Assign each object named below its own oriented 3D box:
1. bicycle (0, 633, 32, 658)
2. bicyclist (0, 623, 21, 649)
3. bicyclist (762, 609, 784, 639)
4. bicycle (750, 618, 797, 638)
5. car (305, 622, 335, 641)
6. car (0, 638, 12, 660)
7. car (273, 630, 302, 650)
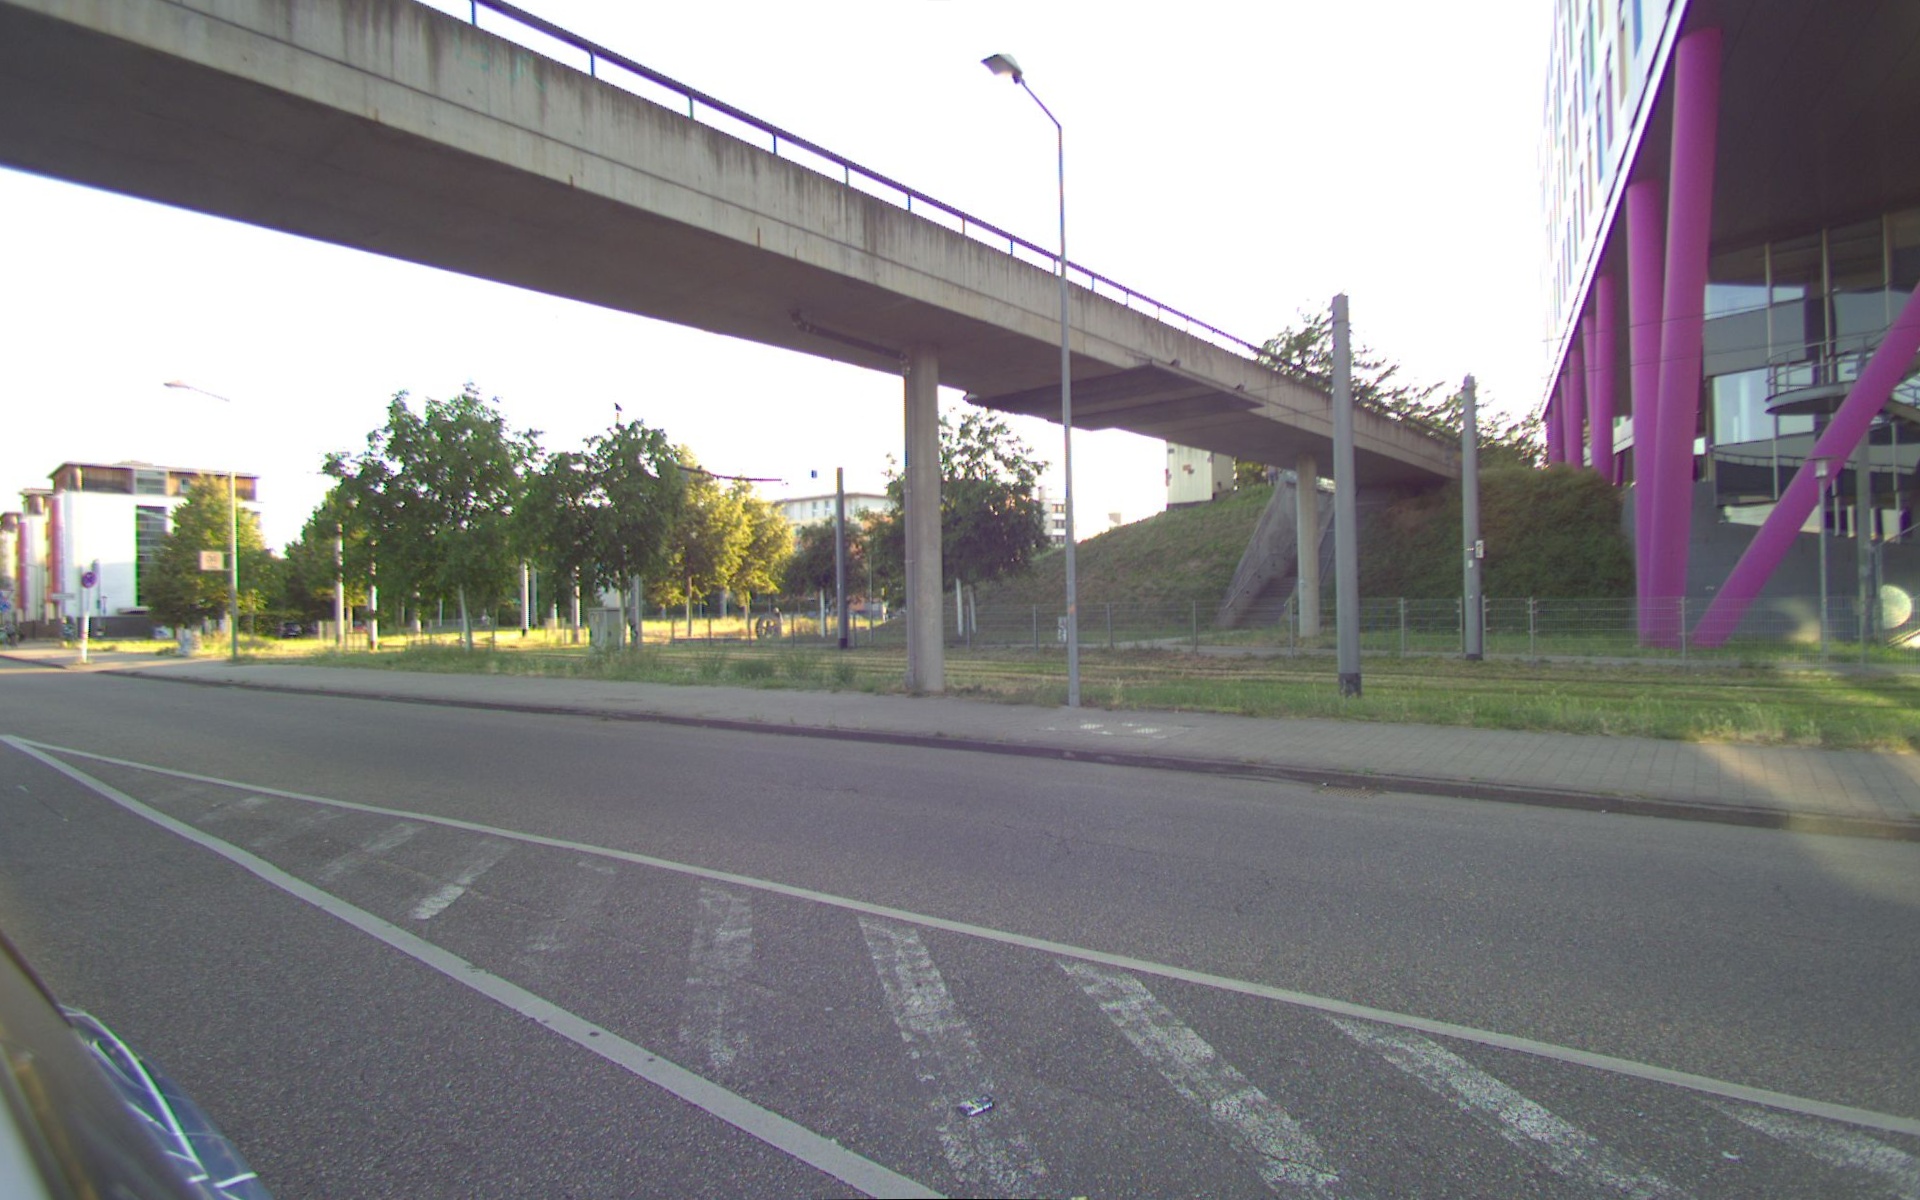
[{"bbox_3d":[-62.515,3.002,66.699,3.528,1.581,1.008,-2,-1,30],"label":"bicycle"},{"bbox_3d":[-62.853,2.356,66.908,0.915,1.676,0.851,-2,-1,27],"label":"bicyclist"},{"bbox_3d":[-10.218,1.312,55.315,0.716,1.644,0.898,-2,-1,37],"label":"bicyclist"},{"bbox_3d":[-10.152,1.529,55.219,0.654,1.016,2.808,-2,-1,37],"label":"bicycle"},{"bbox_3d":[-55.087,2.715,87.036,1.913,1.541,4.009,-1,-1,-36],"label":"car"},{"bbox_3d":[-80.826,4.092,83.267,2.000,1.741,3.944,-2,-1,42],"label":"car"},{"bbox_3d":[-56.849,3.361,85.531,1.913,1.541,4.009,-1,-1,-36],"label":"car"}]
